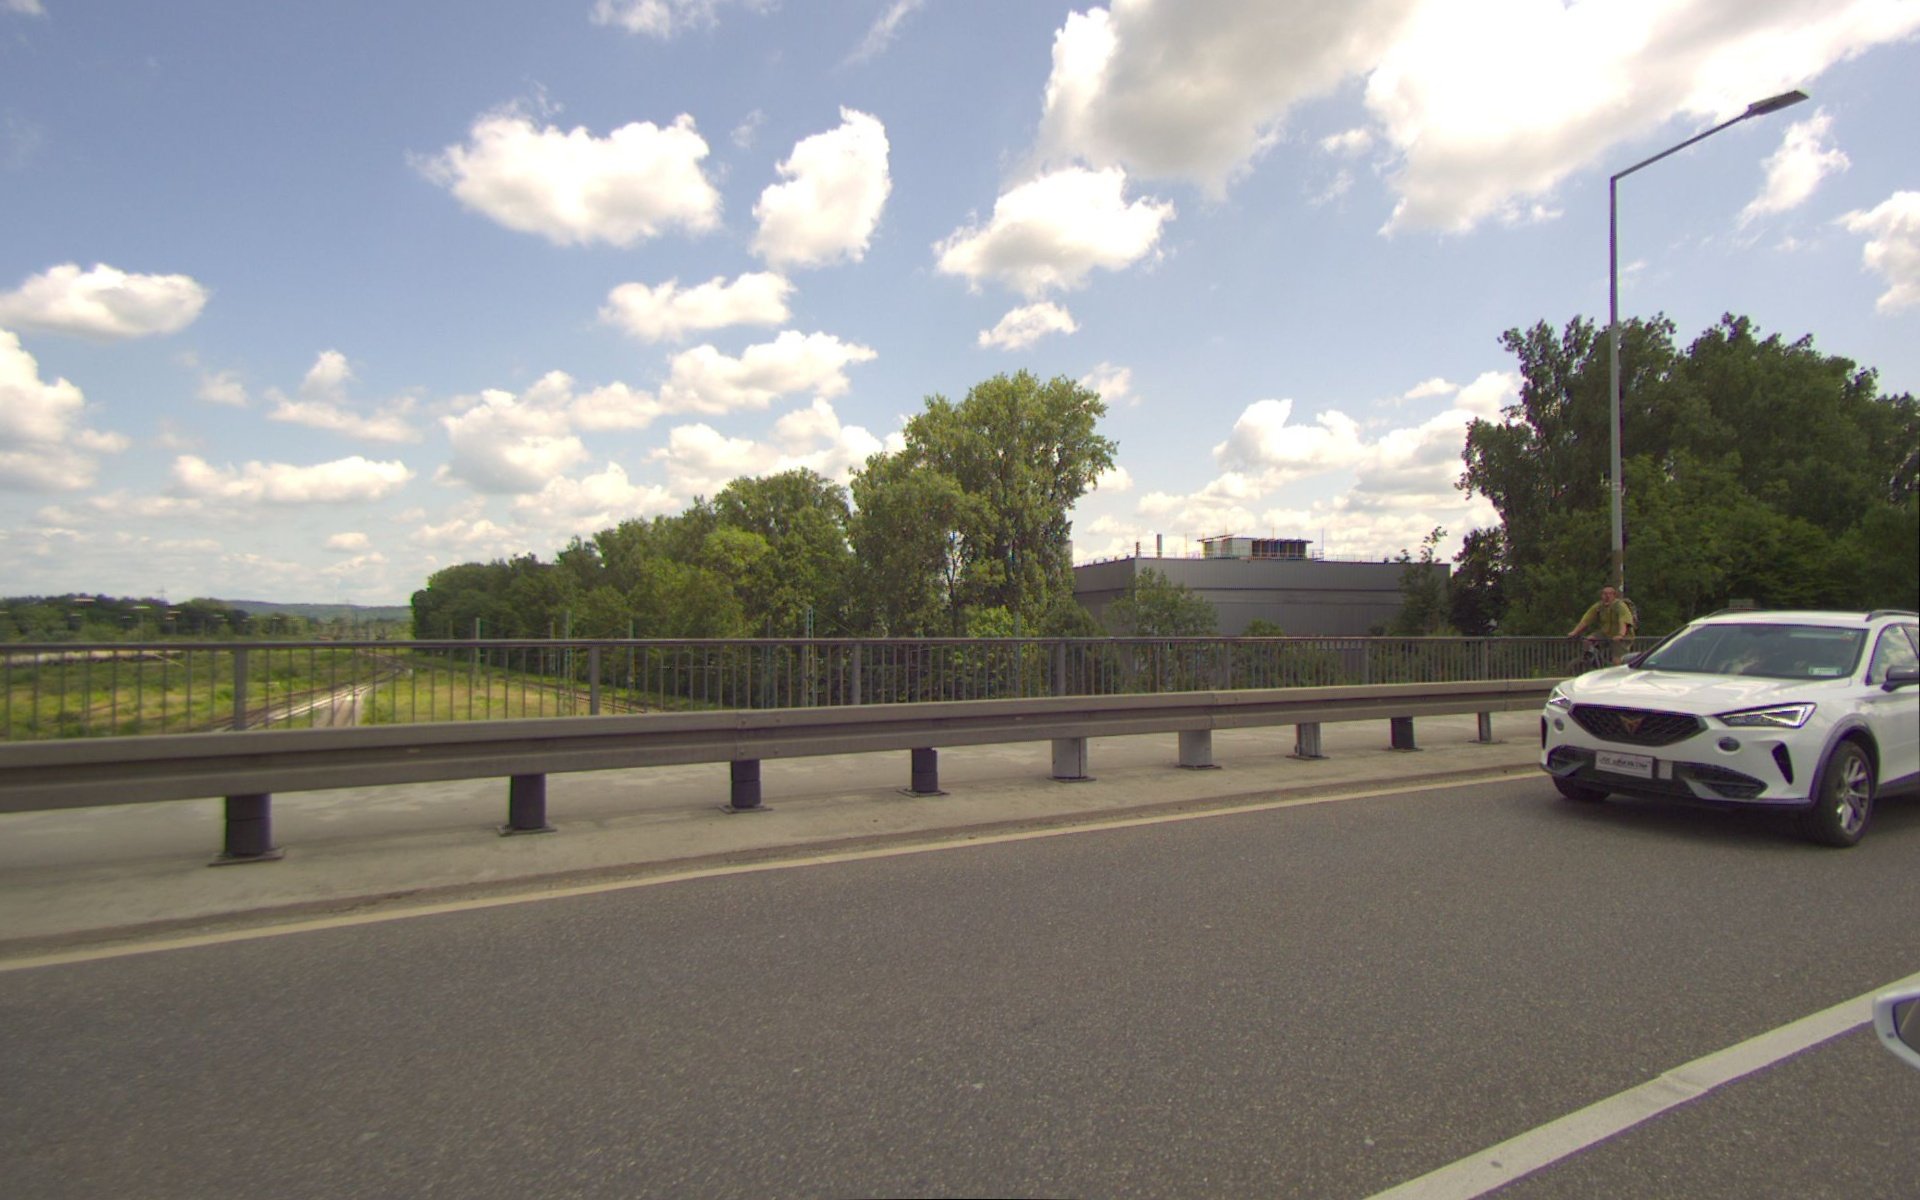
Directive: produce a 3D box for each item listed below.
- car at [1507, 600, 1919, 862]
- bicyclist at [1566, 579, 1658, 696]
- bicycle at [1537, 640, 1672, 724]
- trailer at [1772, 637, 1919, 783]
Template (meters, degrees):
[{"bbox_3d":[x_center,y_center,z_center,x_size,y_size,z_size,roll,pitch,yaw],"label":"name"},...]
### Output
[{"bbox_3d":[6.481,0.815,7.837,4.293,1.555,1.799,1,0,-28],"label":"car"},{"bbox_3d":[9.438,0.536,14.543,0.936,1.623,0.763,1,0,-30],"label":"bicyclist"},{"bbox_3d":[9.288,1.146,14.457,2.090,1.109,0.765,1,-1,-30],"label":"bicycle"},{"bbox_3d":[11.009,1.038,10.273,5.907,1.225,2.037,1,0,-28],"label":"trailer"}]
